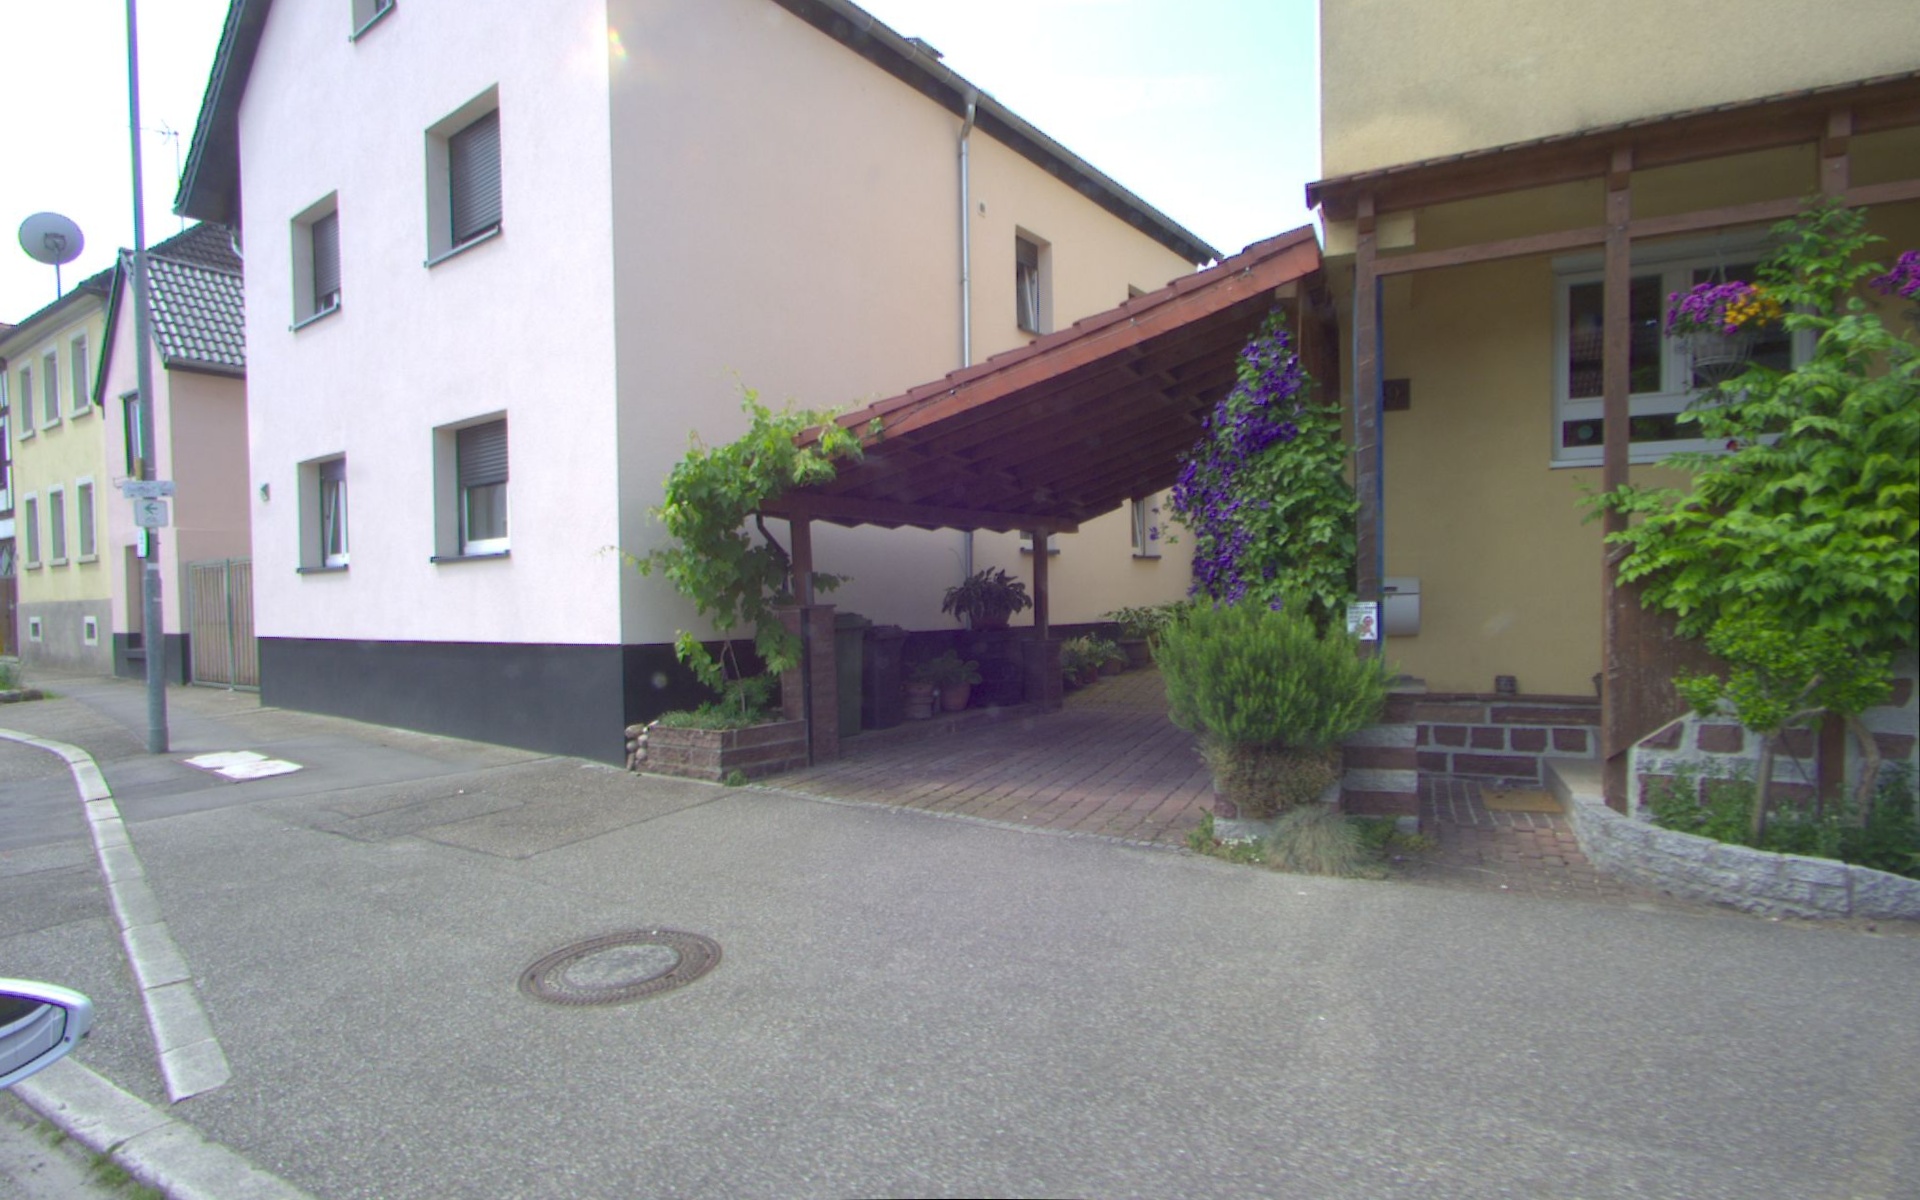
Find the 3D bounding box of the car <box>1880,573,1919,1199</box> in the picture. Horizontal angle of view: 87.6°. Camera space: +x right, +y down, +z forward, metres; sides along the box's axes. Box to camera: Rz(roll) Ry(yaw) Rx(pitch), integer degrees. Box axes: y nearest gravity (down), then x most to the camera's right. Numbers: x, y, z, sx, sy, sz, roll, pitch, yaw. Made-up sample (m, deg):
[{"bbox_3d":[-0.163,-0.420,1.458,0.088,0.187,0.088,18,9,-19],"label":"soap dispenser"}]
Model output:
[{"bbox_3d":[3.619,0.617,0.497,4.361,1.419,1.766,-2,2,32],"label":"car"}]
